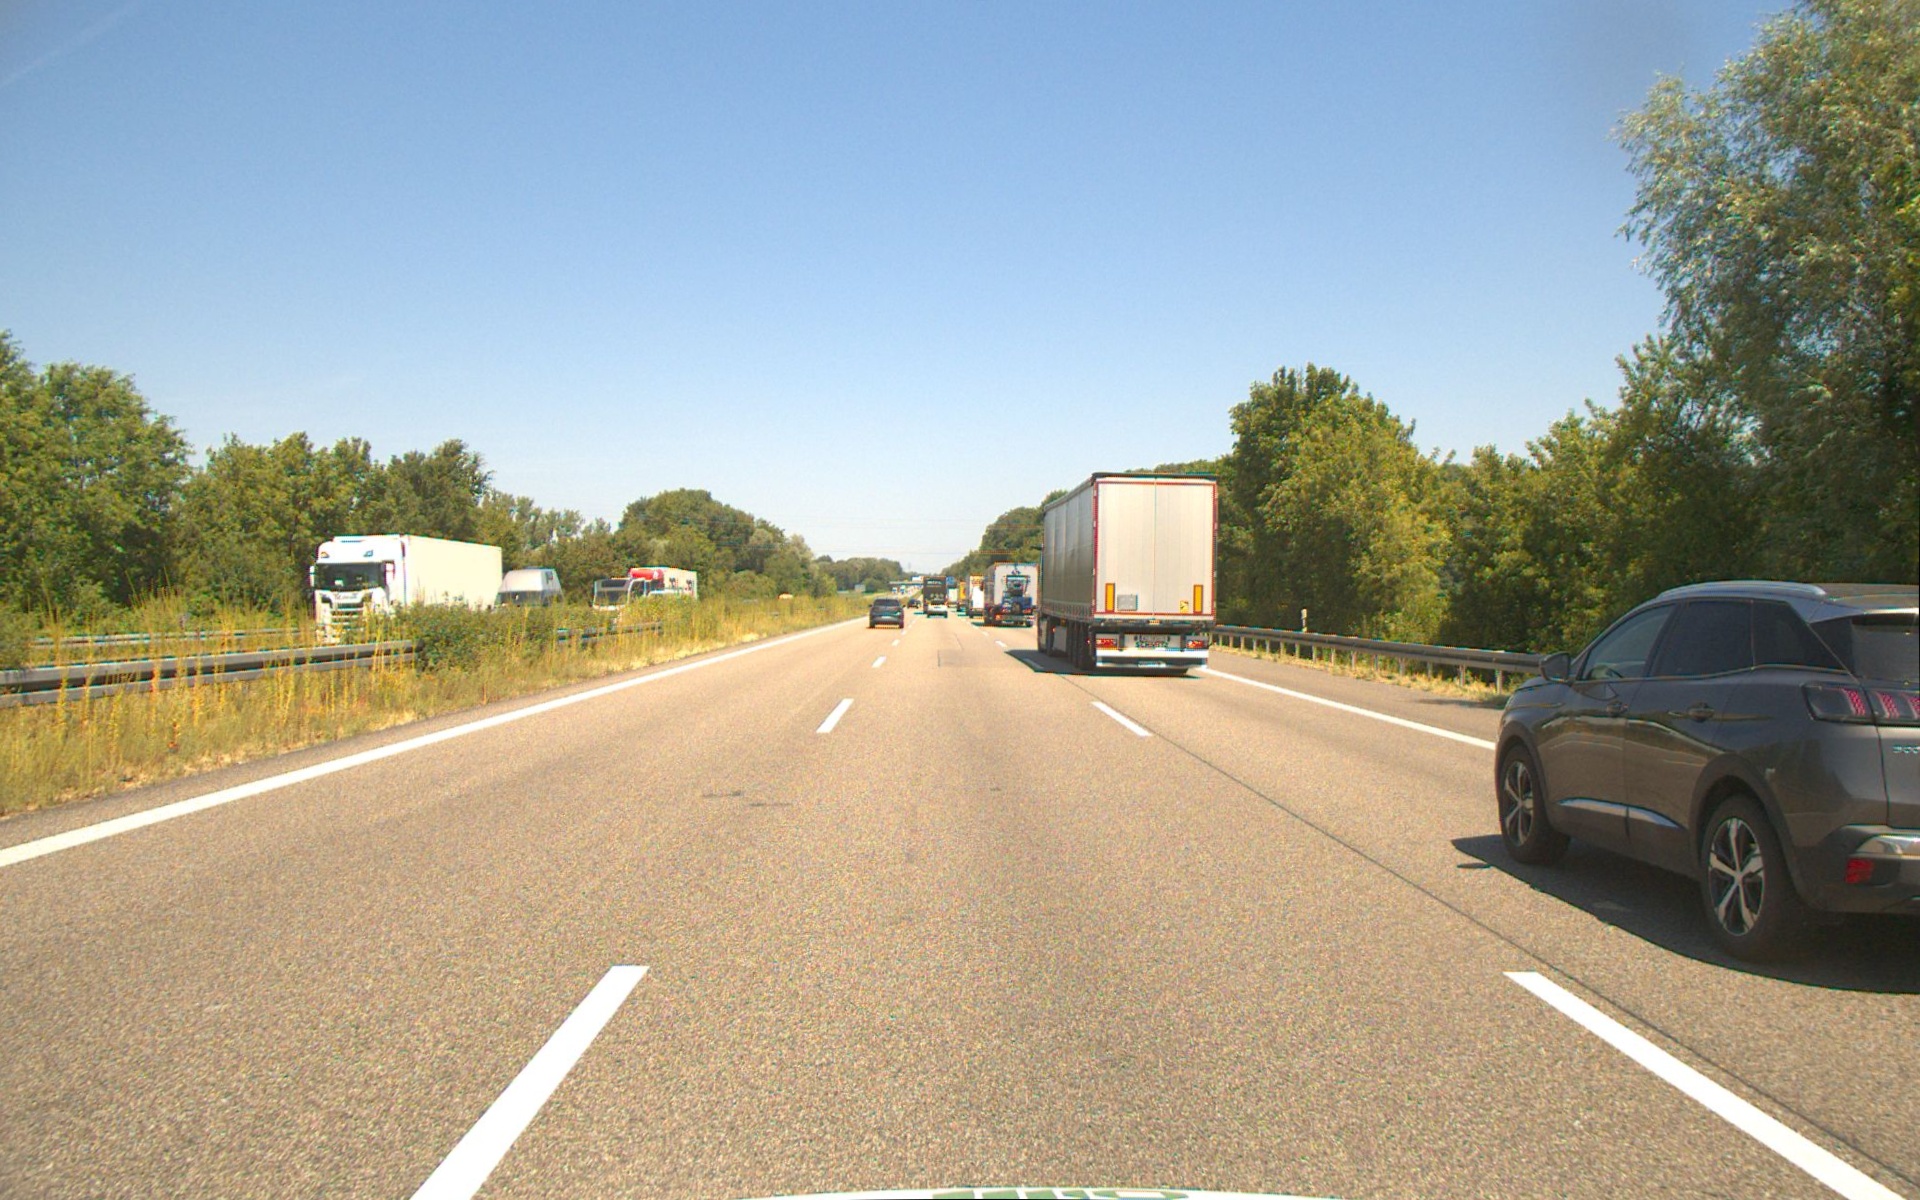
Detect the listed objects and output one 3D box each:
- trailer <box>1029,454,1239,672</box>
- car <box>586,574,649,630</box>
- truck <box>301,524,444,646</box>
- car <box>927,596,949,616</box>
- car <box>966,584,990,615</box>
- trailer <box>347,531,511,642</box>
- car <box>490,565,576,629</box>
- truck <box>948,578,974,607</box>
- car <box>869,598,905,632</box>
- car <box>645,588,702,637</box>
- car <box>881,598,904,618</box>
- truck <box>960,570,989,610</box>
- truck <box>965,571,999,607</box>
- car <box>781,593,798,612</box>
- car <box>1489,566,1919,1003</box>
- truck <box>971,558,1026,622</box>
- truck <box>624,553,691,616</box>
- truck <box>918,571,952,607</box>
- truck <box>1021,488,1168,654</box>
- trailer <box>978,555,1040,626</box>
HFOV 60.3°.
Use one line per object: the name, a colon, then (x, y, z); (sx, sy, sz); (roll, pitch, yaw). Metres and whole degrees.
trailer: (3.741, -0.746, 39.637); (3.365, 4.254, 13.630); (1, 0, -1)
car: (-18.391, 0.114, 89.075); (2.282, 2.871, 6.604); (-1, 0, -3)
truck: (-21.453, -0.589, 60.794); (3.009, 4.183, 6.524); (1, 1, -1)
car: (-1.907, 0.518, 142.150); (1.862, 1.557, 4.083); (1, 1, -1)
car: (1.528, -0.055, 141.358); (1.869, 2.467, 4.285); (1, 1, -1)
trailer: (-21.600, -0.614, 68.268); (2.985, 4.109, 12.232); (1, 1, -1)
car: (-16.807, -0.115, 65.352); (2.165, 2.404, 5.296); (-1, 0, -2)
truck: (0.096, -1.022, 225.830); (3.418, 3.790, 7.108); (1, 1, 0)
car: (-3.762, 0.761, 85.568); (1.723, 1.557, 4.285); (1, 1, -1)
car: (-13.039, 0.525, 75.517); (1.886, 2.157, 5.276); (0, 0, -2)
car: (-5.905, 0.689, 145.618); (1.862, 1.557, 4.083); (1, 1, -1)
truck: (1.407, -1.028, 165.745); (2.735, 3.790, 7.108); (1, 1, 0)
truck: (2.432, -1.200, 182.127); (3.592, 3.790, 7.108); (1, 1, 0)
car: (-24.190, 0.364, 235.230); (2.060, 2.601, 6.182); (-1, 1, -3)
car: (4.248, 0.677, 8.346); (1.807, 1.657, 4.134); (0, 1, -1)
truck: (2.460, -0.728, 108.743); (2.996, 3.946, 10.030); (1, 1, -2)
truck: (-22.376, -1.179, 122.756); (3.008, 4.385, 10.626); (1, 1, 0)
truck: (-2.702, -1.205, 181.978); (3.592, 3.790, 7.108); (1, 1, 0)
truck: (3.625, -0.730, 46.358); (3.394, 4.250, 6.842); (1, -1, -1)
trailer: (2.829, -0.617, 98.803); (3.059, 3.995, 9.933); (1, 1, -2)
